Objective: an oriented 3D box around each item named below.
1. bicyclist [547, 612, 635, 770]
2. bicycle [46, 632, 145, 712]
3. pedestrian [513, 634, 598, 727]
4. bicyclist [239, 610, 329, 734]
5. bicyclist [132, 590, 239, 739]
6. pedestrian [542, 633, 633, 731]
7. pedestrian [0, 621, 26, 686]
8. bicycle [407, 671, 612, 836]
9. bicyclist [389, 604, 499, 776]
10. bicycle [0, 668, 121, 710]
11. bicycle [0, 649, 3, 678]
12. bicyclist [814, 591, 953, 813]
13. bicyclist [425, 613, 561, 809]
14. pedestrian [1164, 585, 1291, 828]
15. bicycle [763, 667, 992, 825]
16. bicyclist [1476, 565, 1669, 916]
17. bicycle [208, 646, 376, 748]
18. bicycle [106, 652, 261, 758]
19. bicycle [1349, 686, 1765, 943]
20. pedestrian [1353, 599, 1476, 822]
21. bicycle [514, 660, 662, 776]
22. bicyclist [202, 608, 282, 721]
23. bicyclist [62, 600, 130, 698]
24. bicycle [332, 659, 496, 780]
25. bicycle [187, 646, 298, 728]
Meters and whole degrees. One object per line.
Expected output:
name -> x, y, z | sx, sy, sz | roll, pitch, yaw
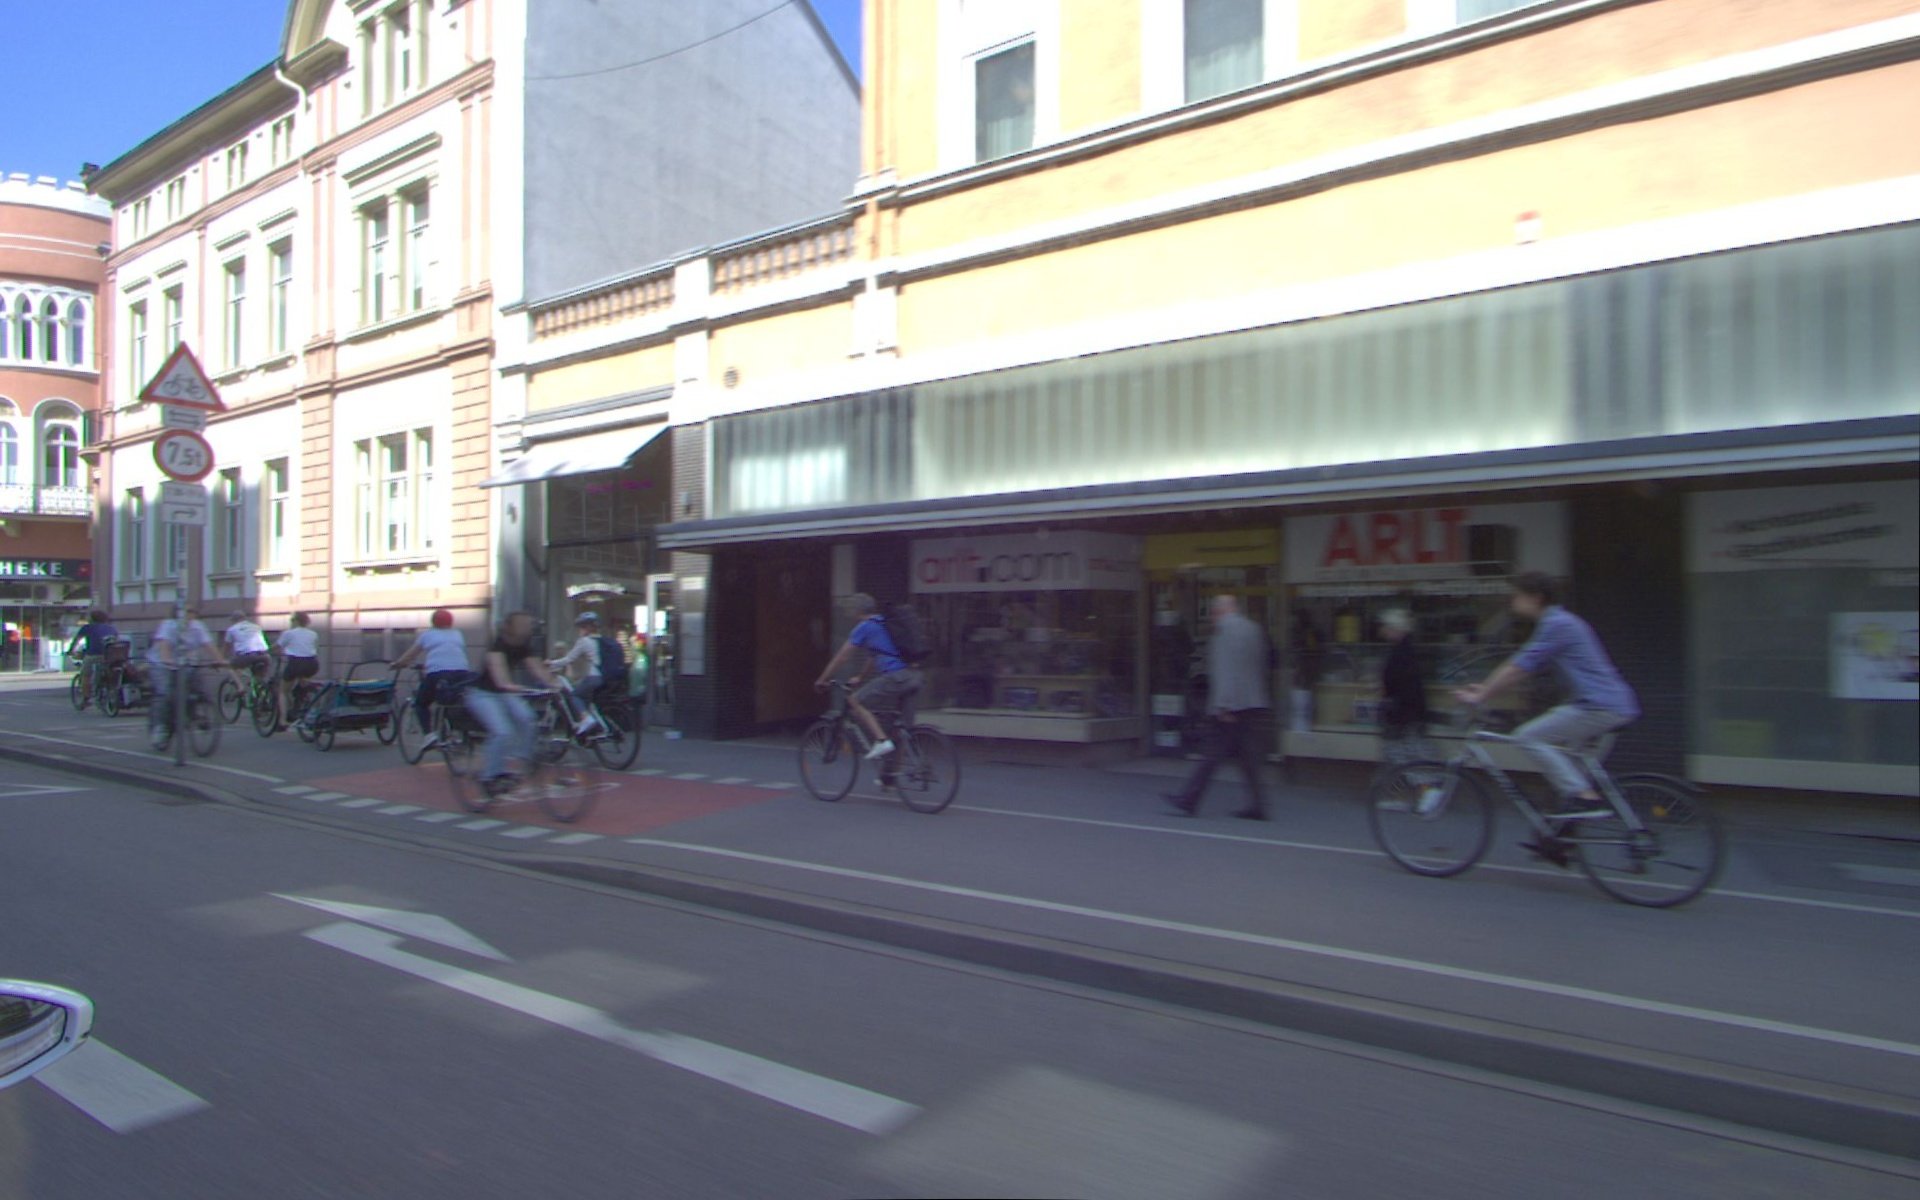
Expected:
bicyclist -> -4.065, 0.973, 11.018 | 0.833, 1.657, 0.514 | -1, -1, 33
bicycle -> -15.419, 1.253, 17.843 | 2.250, 1.285, 0.730 | 1, -2, 34
pedestrian -> -6.076, 1.176, 15.070 | 0.616, 1.333, 1.027 | 0, -1, 31
bicyclist -> -9.126, 0.941, 13.528 | 0.832, 1.594, 0.744 | 2, 1, 33
bicyclist -> -9.439, 0.769, 12.206 | 1.021, 1.724, 0.744 | -1, -1, 33
pedestrian -> -5.478, 1.181, 14.771 | 0.616, 1.334, 1.083 | 0, 1, 31
pedestrian -> -24.456, 1.366, 25.253 | 0.958, 1.632, 0.902 | -3, -1, 14
bicycle -> -3.856, 1.234, 8.495 | 2.065, 1.142, 0.593 | 0, 1, 34
bicyclist -> -5.532, 0.930, 10.739 | 0.833, 1.740, 0.681 | -1, 1, 33
bicycle -> -26.226, 2.615, 29.254 | 2.548, 1.139, 0.623 | 5, -10, -42
bicycle -> -29.039, 1.866, 29.022 | 0.494, 0.855, 1.818 | 0, -2, 33
bicyclist -> -0.633, 0.817, 8.430 | 0.832, 1.739, 0.837 | -1, -1, 33
bicyclist -> -4.040, 0.915, 8.674 | 0.833, 1.594, 0.744 | -1, -1, 33
pedestrian -> 2.156, 0.808, 8.040 | 0.757, 1.814, 0.837 | -1, -1, 33
bicycle -> -0.729, 1.171, 8.467 | 1.964, 1.132, 0.660 | -1, -1, 34
bicyclist -> 3.380, 0.713, 5.579 | 0.832, 1.739, 0.907 | -1, -1, 31
bicycle -> -9.041, 1.242, 13.481 | 3.195, 1.142, 0.746 | 0, 0, 34
bicycle -> -9.512, 1.228, 12.234 | 2.538, 1.141, 0.739 | -1, -1, 34
bicycle -> 3.247, 1.100, 5.626 | 1.890, 1.132, 0.745 | -1, -1, 31
pedestrian -> 3.656, 0.856, 8.051 | 0.833, 1.686, 0.520 | -1, -3, 33
bicycle -> -4.174, 1.270, 11.186 | 1.834, 1.142, 0.604 | -1, 0, 34
bicyclist -> -11.113, 0.963, 15.492 | 1.141, 1.684, 0.570 | 1, 1, 29
bicyclist -> -15.376, 0.858, 17.819 | 0.763, 1.695, 0.729 | -1, -1, 33
bicycle -> -5.984, 1.251, 10.937 | 2.005, 1.142, 0.733 | -1, 0, 34
bicycle -> -11.115, 1.313, 15.499 | 2.045, 1.142, 0.570 | 0, 1, 29
